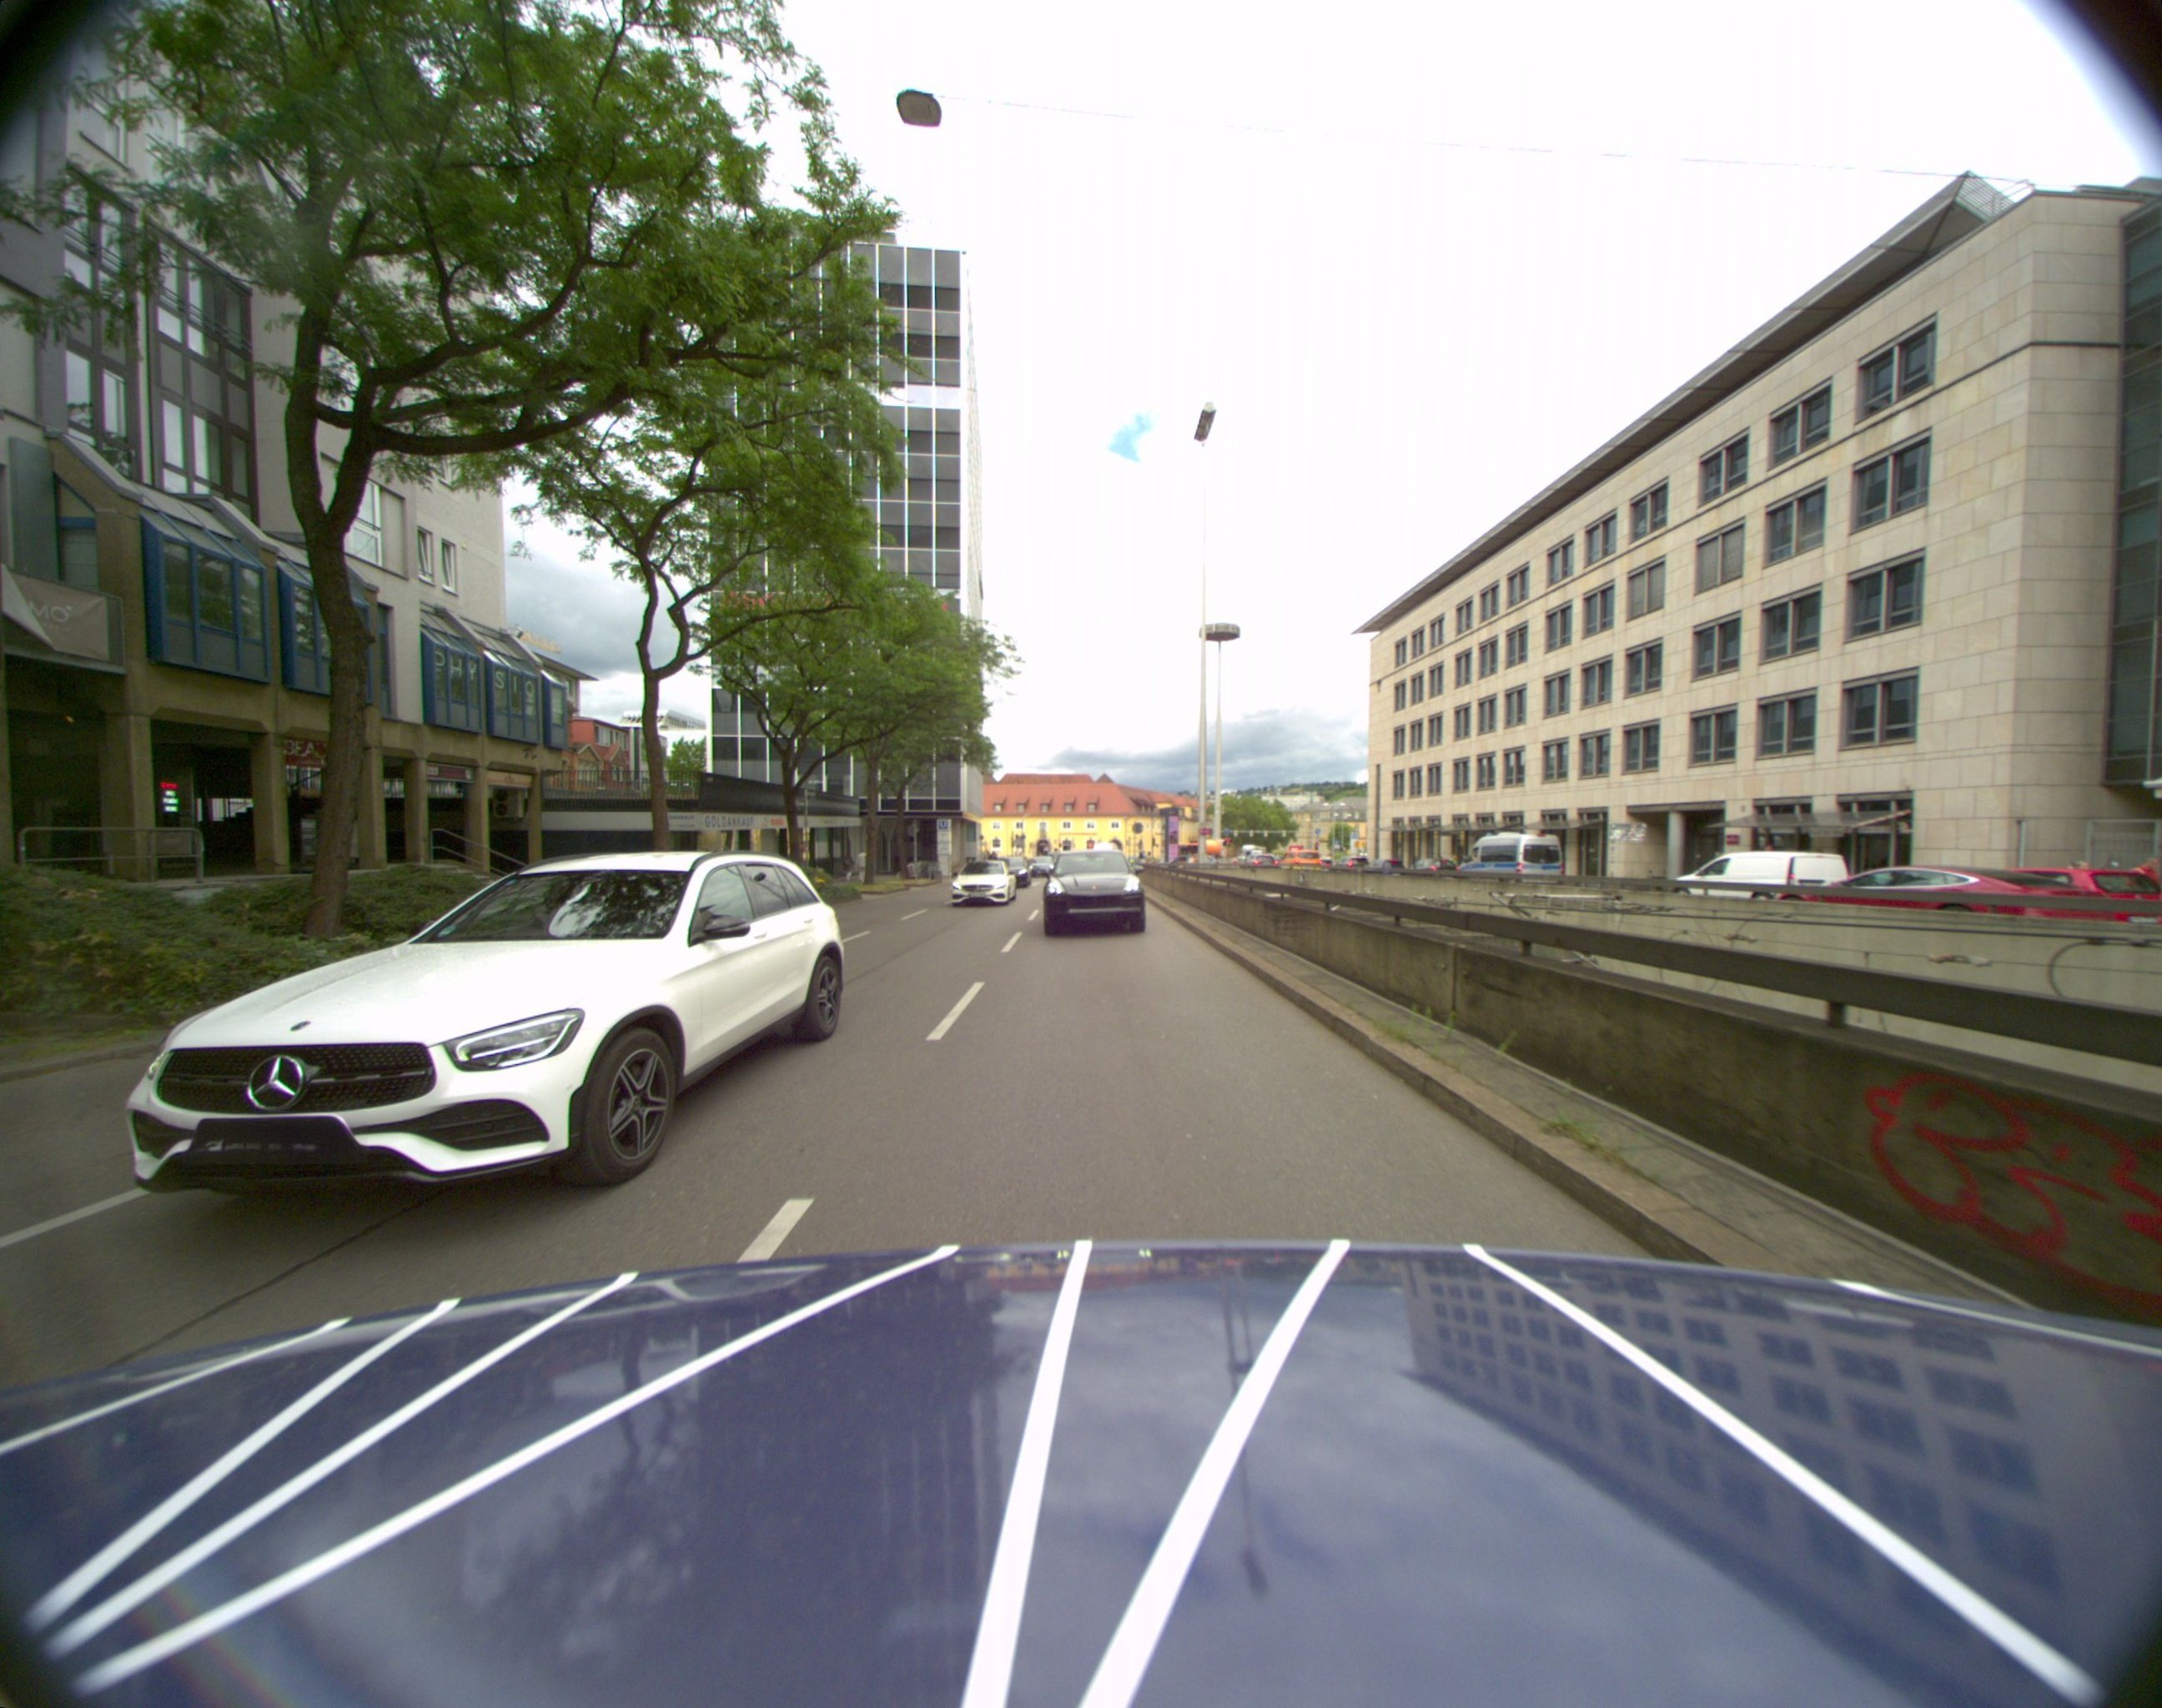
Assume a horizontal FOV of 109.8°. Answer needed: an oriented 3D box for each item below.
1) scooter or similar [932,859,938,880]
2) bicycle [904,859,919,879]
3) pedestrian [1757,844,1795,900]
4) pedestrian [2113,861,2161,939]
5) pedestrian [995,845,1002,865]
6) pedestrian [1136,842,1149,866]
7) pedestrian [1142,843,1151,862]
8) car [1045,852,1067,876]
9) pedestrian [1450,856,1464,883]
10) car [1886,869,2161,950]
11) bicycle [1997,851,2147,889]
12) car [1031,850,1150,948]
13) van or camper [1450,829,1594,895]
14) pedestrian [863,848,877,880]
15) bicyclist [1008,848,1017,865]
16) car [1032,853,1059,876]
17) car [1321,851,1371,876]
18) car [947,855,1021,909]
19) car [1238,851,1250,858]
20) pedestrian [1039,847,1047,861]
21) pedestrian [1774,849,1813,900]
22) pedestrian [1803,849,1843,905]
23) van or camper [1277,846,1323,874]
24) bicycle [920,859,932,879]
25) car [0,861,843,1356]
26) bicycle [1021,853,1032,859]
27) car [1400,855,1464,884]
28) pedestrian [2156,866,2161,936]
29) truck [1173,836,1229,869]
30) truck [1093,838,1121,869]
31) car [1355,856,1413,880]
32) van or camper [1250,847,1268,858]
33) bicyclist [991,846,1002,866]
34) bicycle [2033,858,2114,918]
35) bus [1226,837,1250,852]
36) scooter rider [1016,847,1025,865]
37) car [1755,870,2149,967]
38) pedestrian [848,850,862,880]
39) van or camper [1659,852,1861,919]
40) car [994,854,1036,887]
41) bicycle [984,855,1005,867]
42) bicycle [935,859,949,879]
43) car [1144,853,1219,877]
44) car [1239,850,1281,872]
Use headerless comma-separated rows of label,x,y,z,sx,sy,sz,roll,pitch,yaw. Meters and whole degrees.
scooter or similar,-8.755,0.934,45.577,0.307,1.244,0.995,0,1,-13
bicycle,-10.099,0.888,45.420,0.490,1.126,1.688,0,1,1
pedestrian,23.372,0.589,25.568,0.618,1.864,0.680,0,1,-1
pedestrian,22.190,0.942,15.758,0.584,1.572,0.713,0,1,1
pedestrian,-7.363,0.101,67.815,0.526,1.702,0.752,1,3,-5
pedestrian,5.752,0.001,71.104,0.879,2.160,0.761,0,1,-18
pedestrian,6.519,-0.163,75.142,0.717,1.780,0.634,4,0,0
car,-2.155,0.846,65.950,1.859,1.976,4.641,0,0,-1
pedestrian,23.016,0.949,46.528,0.501,1.615,0.627,0,1,0
car,19.438,1.050,15.685,1.792,1.397,3.582,0,0,-1
bicycle,21.472,0.327,16.538,0.634,0.757,1.958,0,0,-3
car,0.370,0.791,15.449,2.004,1.628,5.023,-1,0,5
van or camper,20.074,0.312,35.068,3.009,2.710,6.245,1,0,0
pedestrian,-11.790,0.562,42.435,0.597,1.744,0.940,1,1,-5
bicyclist,-6.651,0.240,73.504,0.566,1.541,0.844,0,2,-28
car,-2.459,0.735,53.318,1.707,1.524,3.763,0,0,0
car,19.258,0.646,55.513,1.998,1.636,4.682,2,1,0
car,-3.114,0.855,25.340,1.870,1.560,4.651,-1,1,0
car,33.870,0.082,157.915,1.824,1.401,4.006,1,1,22
pedestrian,-4.717,0.029,94.598,0.802,1.688,0.547,0,1,-18
pedestrian,22.437,0.641,23.936,0.553,1.567,0.680,0,1,-1
pedestrian,23.418,0.728,23.982,0.553,1.743,0.680,0,1,-1
van or camper,16.141,0.386,56.335,1.918,1.910,5.083,2,1,0
bicycle,-9.208,0.898,45.241,0.491,1.126,1.886,0,1,-6
car,-3.057,0.922,4.867,1.807,1.637,4.332,0,1,-2
bicycle,-9.581,0.302,133.419,1.769,1.079,0.621,0,1,10
car,19.822,0.843,43.084,1.773,1.440,4.030,2,1,0
pedestrian,22.957,0.980,15.745,0.550,1.466,0.541,0,1,1
truck,15.905,-0.306,100.174,2.719,3.598,9.193,4,7,43
truck,2.497,-0.049,71.924,1.954,2.768,5.793,1,1,9
car,19.647,0.876,49.457,1.998,1.387,4.573,0,1,1
van or camper,37.042,-0.356,157.840,2.369,2.249,6.298,2,1,24
bicyclist,-7.993,0.210,71.737,0.811,1.835,0.676,2,2,27
bicycle,21.474,0.719,16.453,0.634,1.253,0.844,0,1,-3
bus,35.808,-2.178,172.974,3.428,3.185,13.080,-2,0,20
scooter rider,-5.891,0.214,74.505,0.594,1.798,0.641,0,2,-41
car,16.452,1.112,14.895,1.999,1.456,4.884,0,0,-2
pedestrian,-12.602,0.594,42.309,0.597,1.619,0.757,1,1,-5
van or camper,19.608,0.821,22.276,1.872,1.741,4.486,0,0,-1
car,-3.231,0.767,37.737,1.707,1.524,3.763,0,0,0
bicycle,-8.175,0.651,71.818,1.763,1.001,0.682,2,-1,25
bicycle,-8.232,0.897,45.151,0.491,1.126,1.843,0,1,0
car,6.369,0.664,48.101,4.559,1.450,1.882,0,1,8
car,13.059,0.488,55.711,1.923,1.518,4.541,0,0,0
